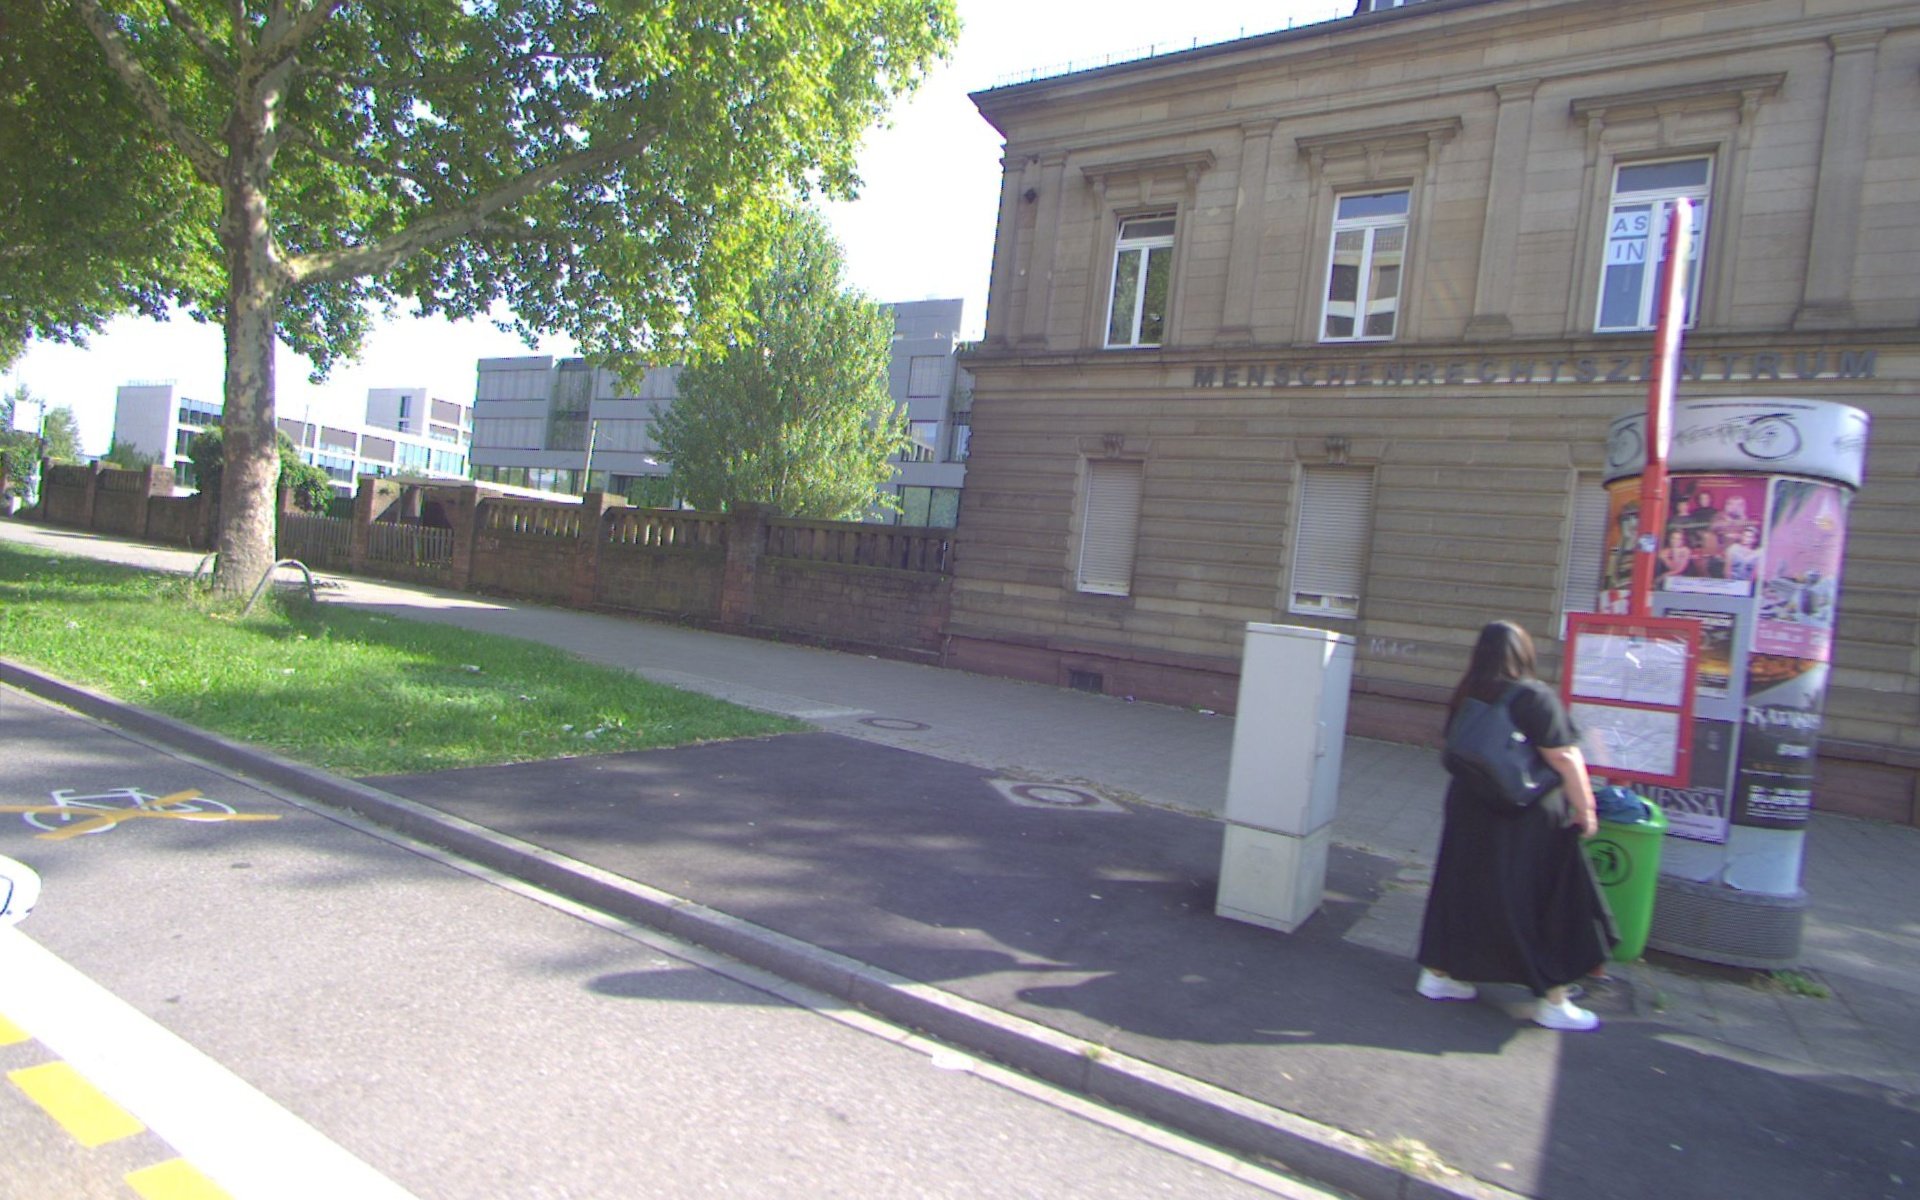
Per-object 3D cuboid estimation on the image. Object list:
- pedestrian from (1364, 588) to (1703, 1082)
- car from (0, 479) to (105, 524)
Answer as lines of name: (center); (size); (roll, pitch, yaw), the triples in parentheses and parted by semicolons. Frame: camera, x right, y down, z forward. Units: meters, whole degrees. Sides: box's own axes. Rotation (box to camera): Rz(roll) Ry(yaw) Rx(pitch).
pedestrian: (2.204, 0.832, 4.027); (0.807, 1.646, 0.884); (7, 1, 15)
car: (-47.831, -5.171, 52.472); (1.877, 1.756, 4.527); (7, 1, 29)
